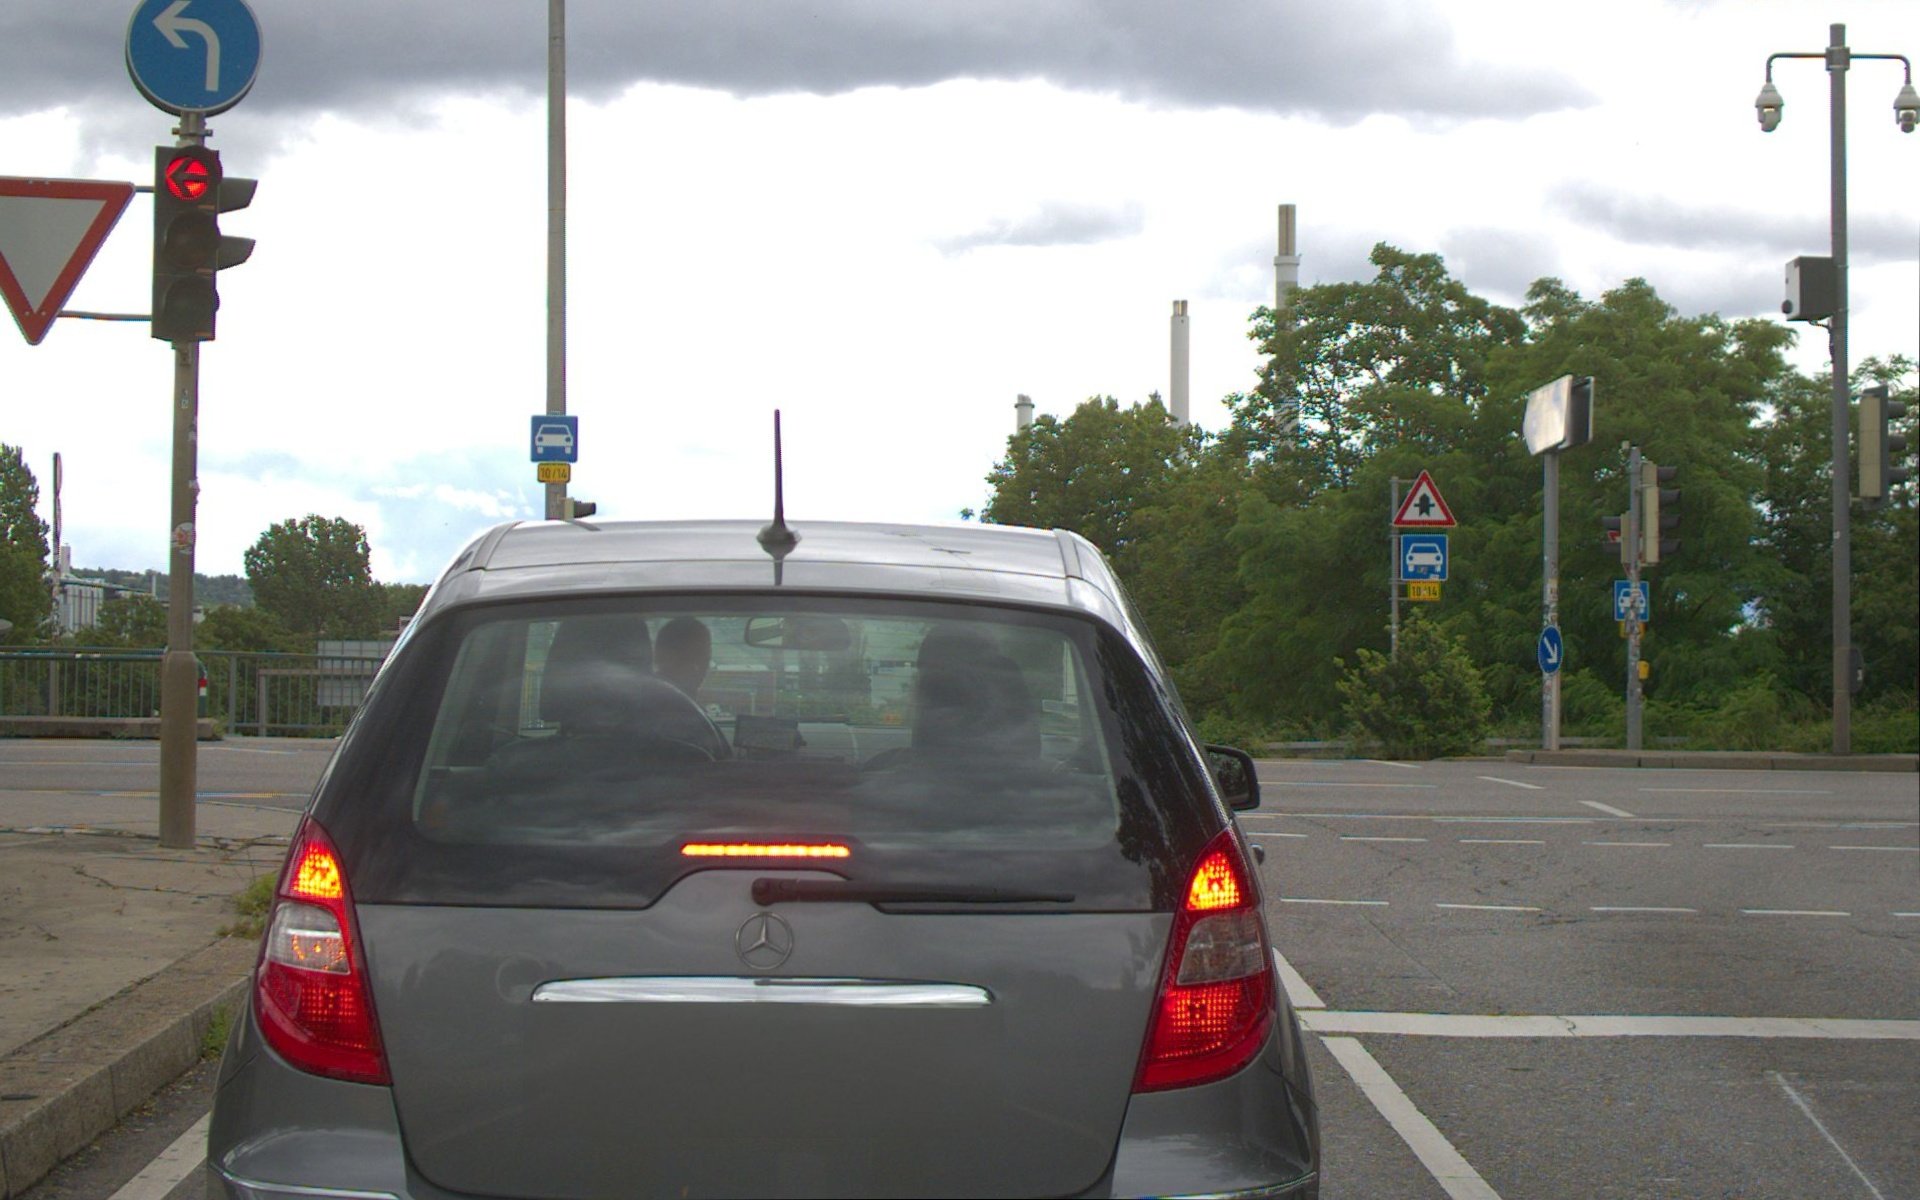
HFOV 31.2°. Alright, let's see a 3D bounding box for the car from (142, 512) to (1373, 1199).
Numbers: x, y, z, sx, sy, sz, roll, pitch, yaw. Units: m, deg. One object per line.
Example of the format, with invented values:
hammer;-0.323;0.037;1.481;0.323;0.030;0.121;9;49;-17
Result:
car;-0.306;0.638;6.663;1.739;1.538;3.541;1;1;0
